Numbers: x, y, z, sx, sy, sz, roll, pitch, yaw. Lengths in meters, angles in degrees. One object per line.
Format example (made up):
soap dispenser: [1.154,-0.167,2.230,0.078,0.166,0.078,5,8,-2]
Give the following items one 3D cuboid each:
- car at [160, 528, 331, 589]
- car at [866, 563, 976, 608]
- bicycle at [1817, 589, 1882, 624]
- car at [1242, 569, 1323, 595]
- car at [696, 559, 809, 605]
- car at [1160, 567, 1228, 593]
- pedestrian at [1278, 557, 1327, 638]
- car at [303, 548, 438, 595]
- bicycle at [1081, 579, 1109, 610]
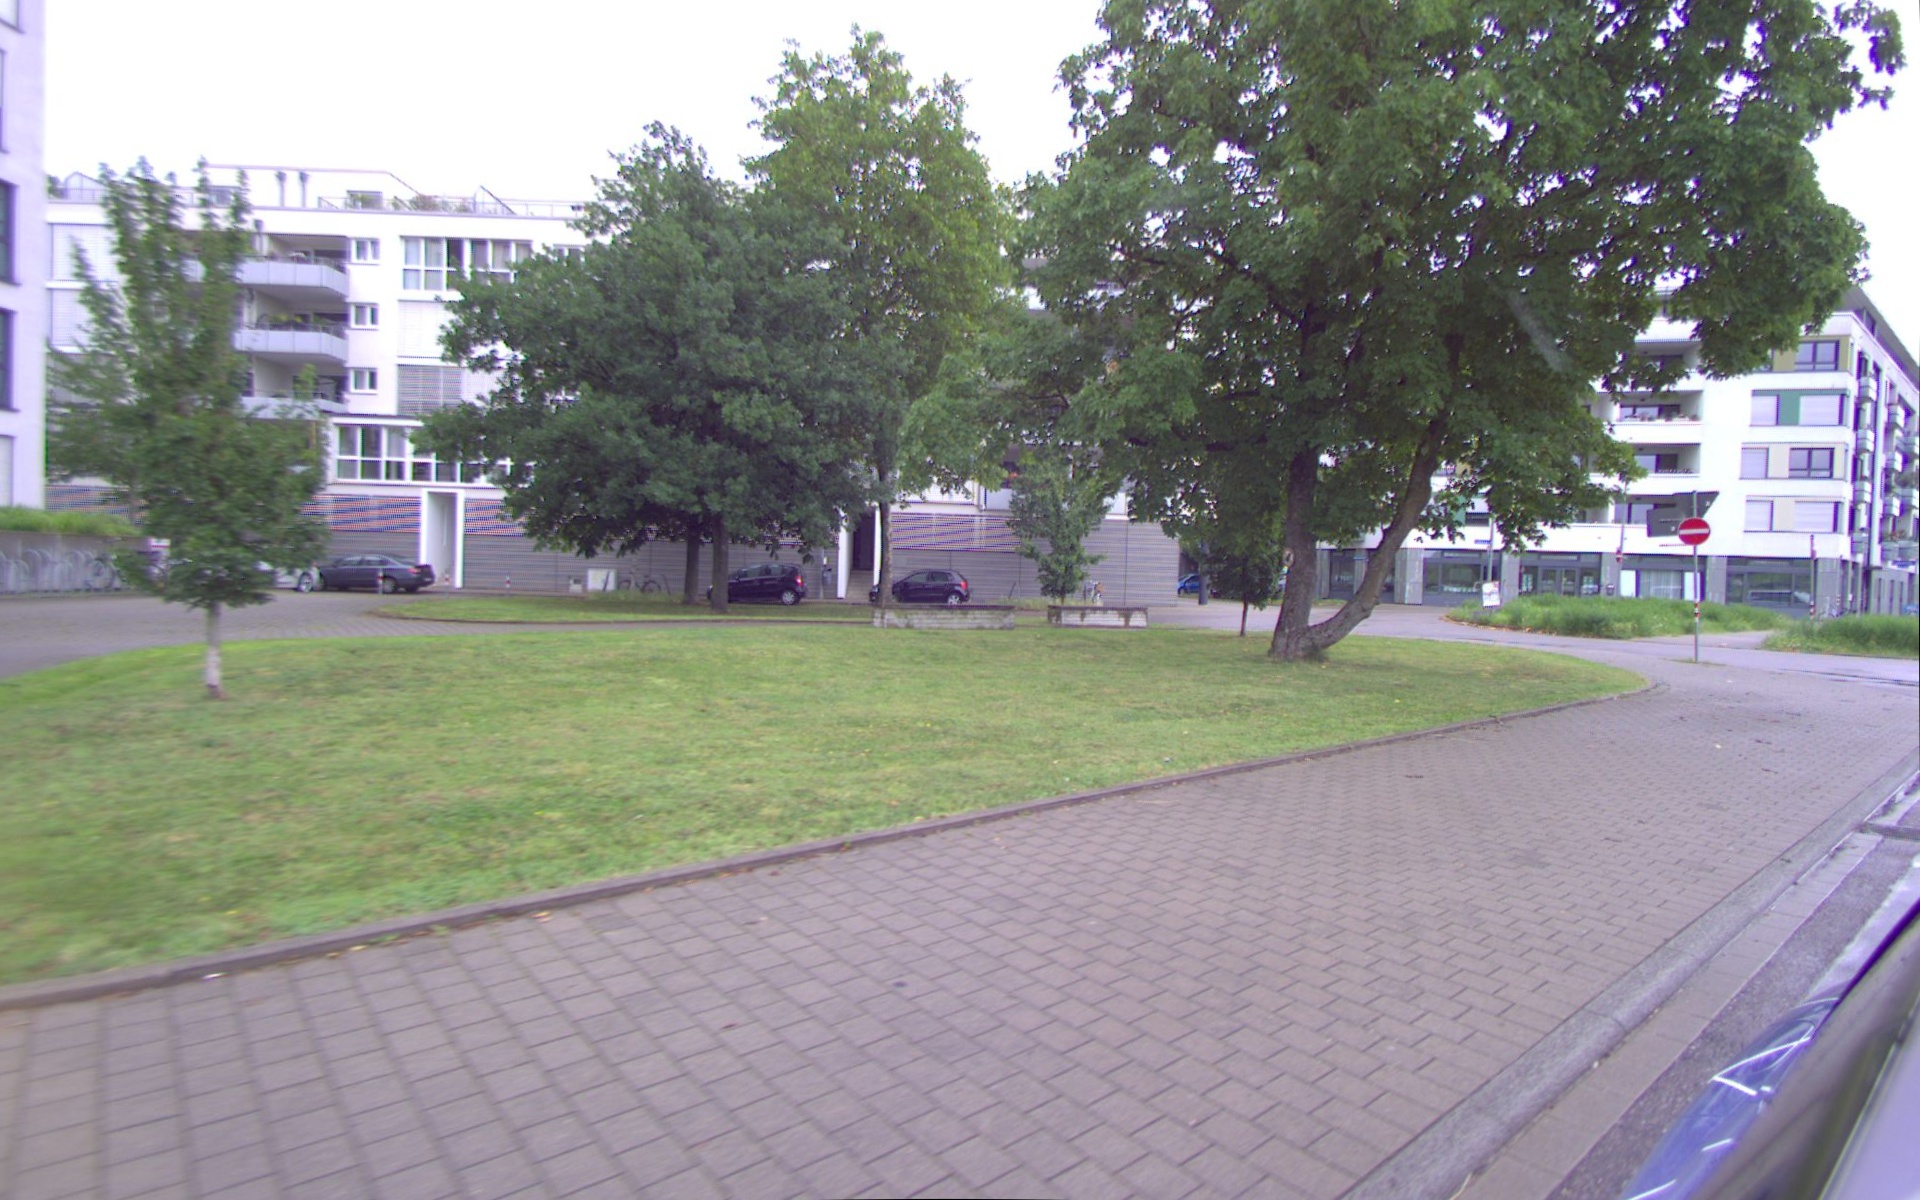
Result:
car: [-20.750,-1.153,29.692,1.594,1.526,4.836,2,0,0]
car: [-1.479,-0.564,38.421,4.041,1.567,1.736,2,1,-2]
bicycle: [42.272,0.287,48.127,0.617,1.541,2.200,1,2,-20]
car: [19.678,-1.123,61.830,4.428,1.450,1.818,1,2,-18]
car: [-7.806,-0.690,38.315,3.923,1.567,1.736,2,1,-2]
car: [16.414,-1.415,71.143,4.258,1.671,1.745,1,2,-13]
pedestrian: [8.848,-0.088,26.158,0.611,2.038,0.967,1,1,-40]
car: [-22.240,-1.100,38.305,4.064,1.567,1.776,3,3,-2]
bicycle: [5.119,-0.245,38.553,0.712,1.101,2.485,2,2,0]
